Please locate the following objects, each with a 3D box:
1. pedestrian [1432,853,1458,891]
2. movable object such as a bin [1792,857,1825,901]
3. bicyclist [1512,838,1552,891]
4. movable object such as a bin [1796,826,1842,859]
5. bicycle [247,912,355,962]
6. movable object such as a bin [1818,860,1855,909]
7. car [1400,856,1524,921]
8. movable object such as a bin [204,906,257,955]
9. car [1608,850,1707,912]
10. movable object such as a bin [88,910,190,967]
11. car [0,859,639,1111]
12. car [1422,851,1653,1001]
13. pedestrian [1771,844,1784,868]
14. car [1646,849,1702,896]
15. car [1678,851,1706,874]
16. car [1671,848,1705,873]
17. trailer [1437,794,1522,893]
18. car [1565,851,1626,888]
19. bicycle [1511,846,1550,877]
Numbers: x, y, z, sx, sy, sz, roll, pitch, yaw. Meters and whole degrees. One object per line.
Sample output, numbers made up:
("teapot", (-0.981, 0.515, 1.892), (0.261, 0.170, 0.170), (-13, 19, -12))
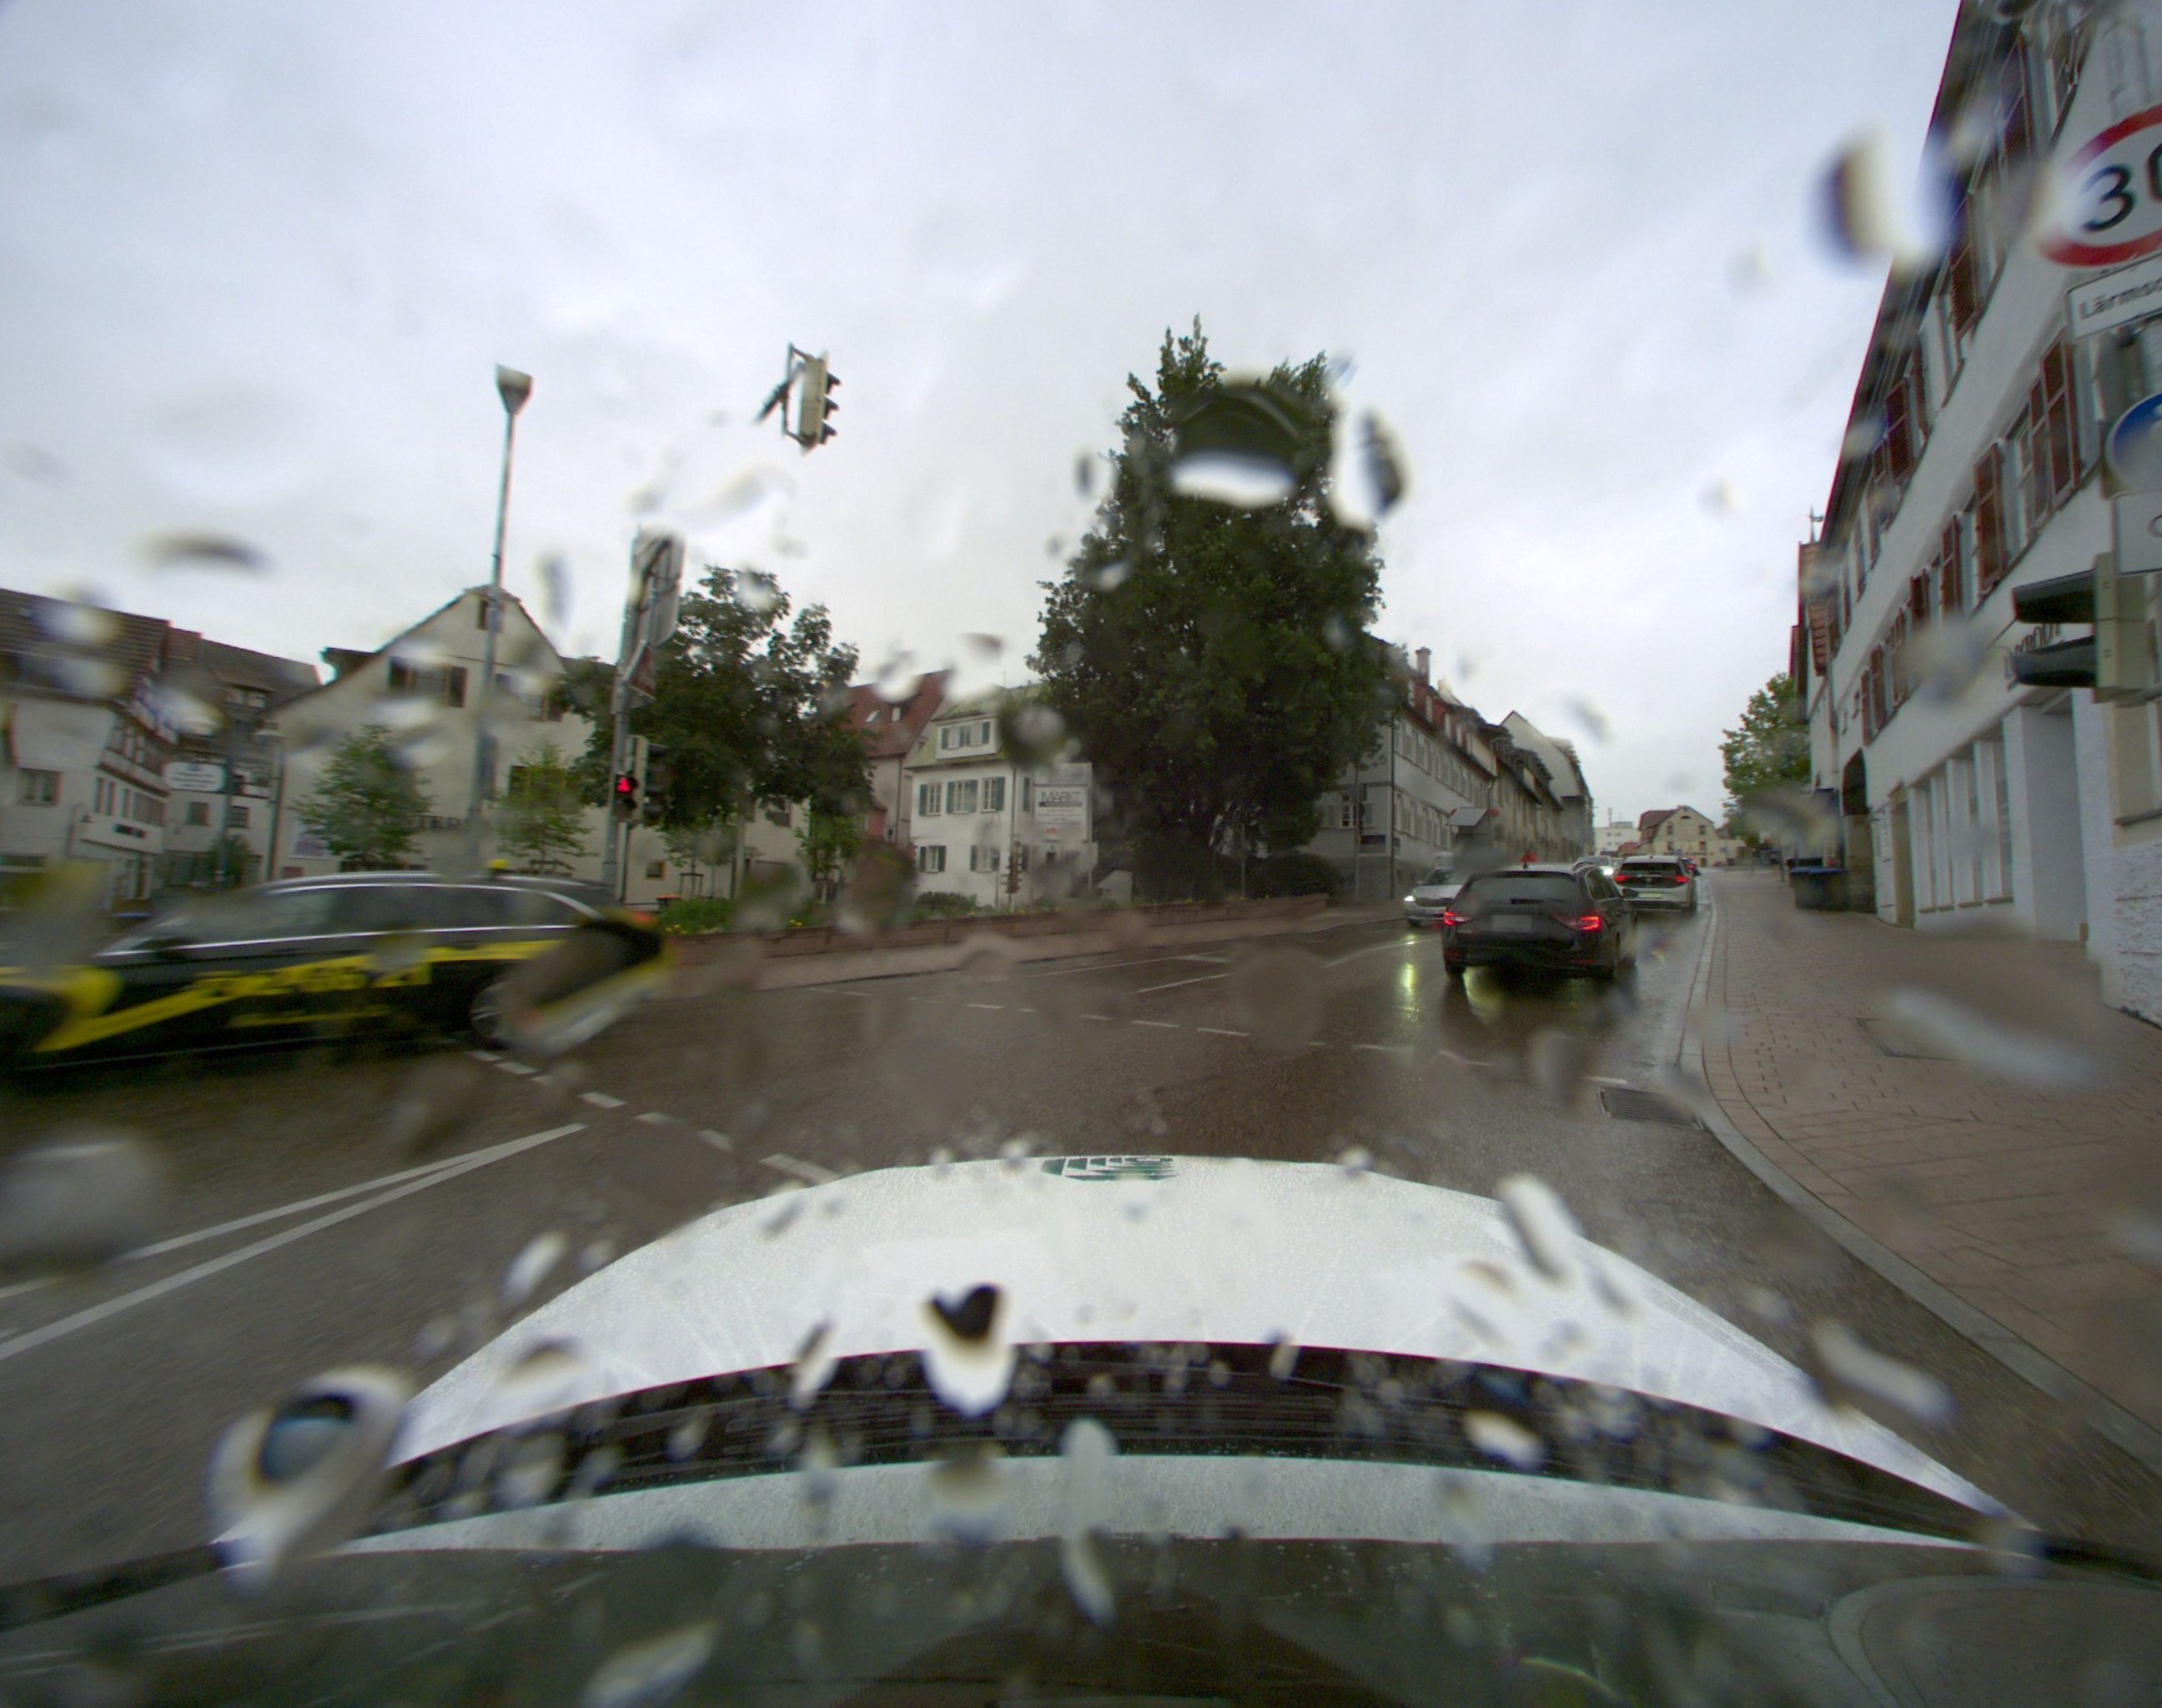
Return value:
("pedestrian", (14.869, 0.713, 33.269), (0.700, 1.530, 1.051), (1, 0, 41))
("movable object such as a bin", (19.013, 0.648, 21.272), (0.679, 1.109, 0.562), (5, -4, -42))
("bicyclist", (17.387, 0.398, 31.417), (1.126, 2.014, 0.885), (-2, -1, 45))
("movable object such as a bin", (31.180, -0.472, 34.433), (1.274, 1.350, 1.496), (0, -2, 37))
("bicycle", (-14.653, 1.538, 15.350), (0.335, 0.818, 1.442), (4, -1, 15))
("movable object such as a bin", (19.036, 0.764, 20.523), (0.608, 1.206, 0.619), (2, -2, -42))
("car", (9.411, 0.806, 19.991), (1.646, 1.428, 3.894), (0, -2, 43))
("movable object such as a bin", (-16.394, 1.470, 15.703), (0.576, 0.902, 0.592), (0, -4, 38))
("car", (15.560, 0.657, 21.894), (1.838, 1.473, 4.025), (-1, 0, 40))
("movable object such as a bin", (-16.335, 1.452, 14.140), (0.721, 0.927, 0.788), (3, -5, 1))
("car", (-6.254, 0.825, 6.571), (4.435, 1.539, 1.977), (1, -1, -39))
("car", (5.959, 0.705, 10.343), (1.868, 1.448, 4.384), (0, 1, 39))
("pedestrian", (50.623, 0.169, 59.228), (0.698, 1.725, 0.837), (-1, 0, 41))
("car", (22.809, 0.760, 31.406), (1.611, 1.531, 4.024), (-2, -6, 35))
("car", (55.459, 0.758, 73.901), (1.974, 2.014, 4.025), (-1, -1, 38))
("car", (40.545, 0.420, 54.431), (1.686, 1.552, 3.629), (0, 0, 35))
("trailer", (15.406, -0.284, 31.350), (1.974, 3.534, 4.603), (0, -2, 39))
("car", (25.643, 0.749, 40.532), (1.855, 1.662, 4.334), (-6, -4, 40))
("bicycle", (17.326, 0.301, 31.377), (0.740, 1.163, 2.169), (-3, -3, 44))
